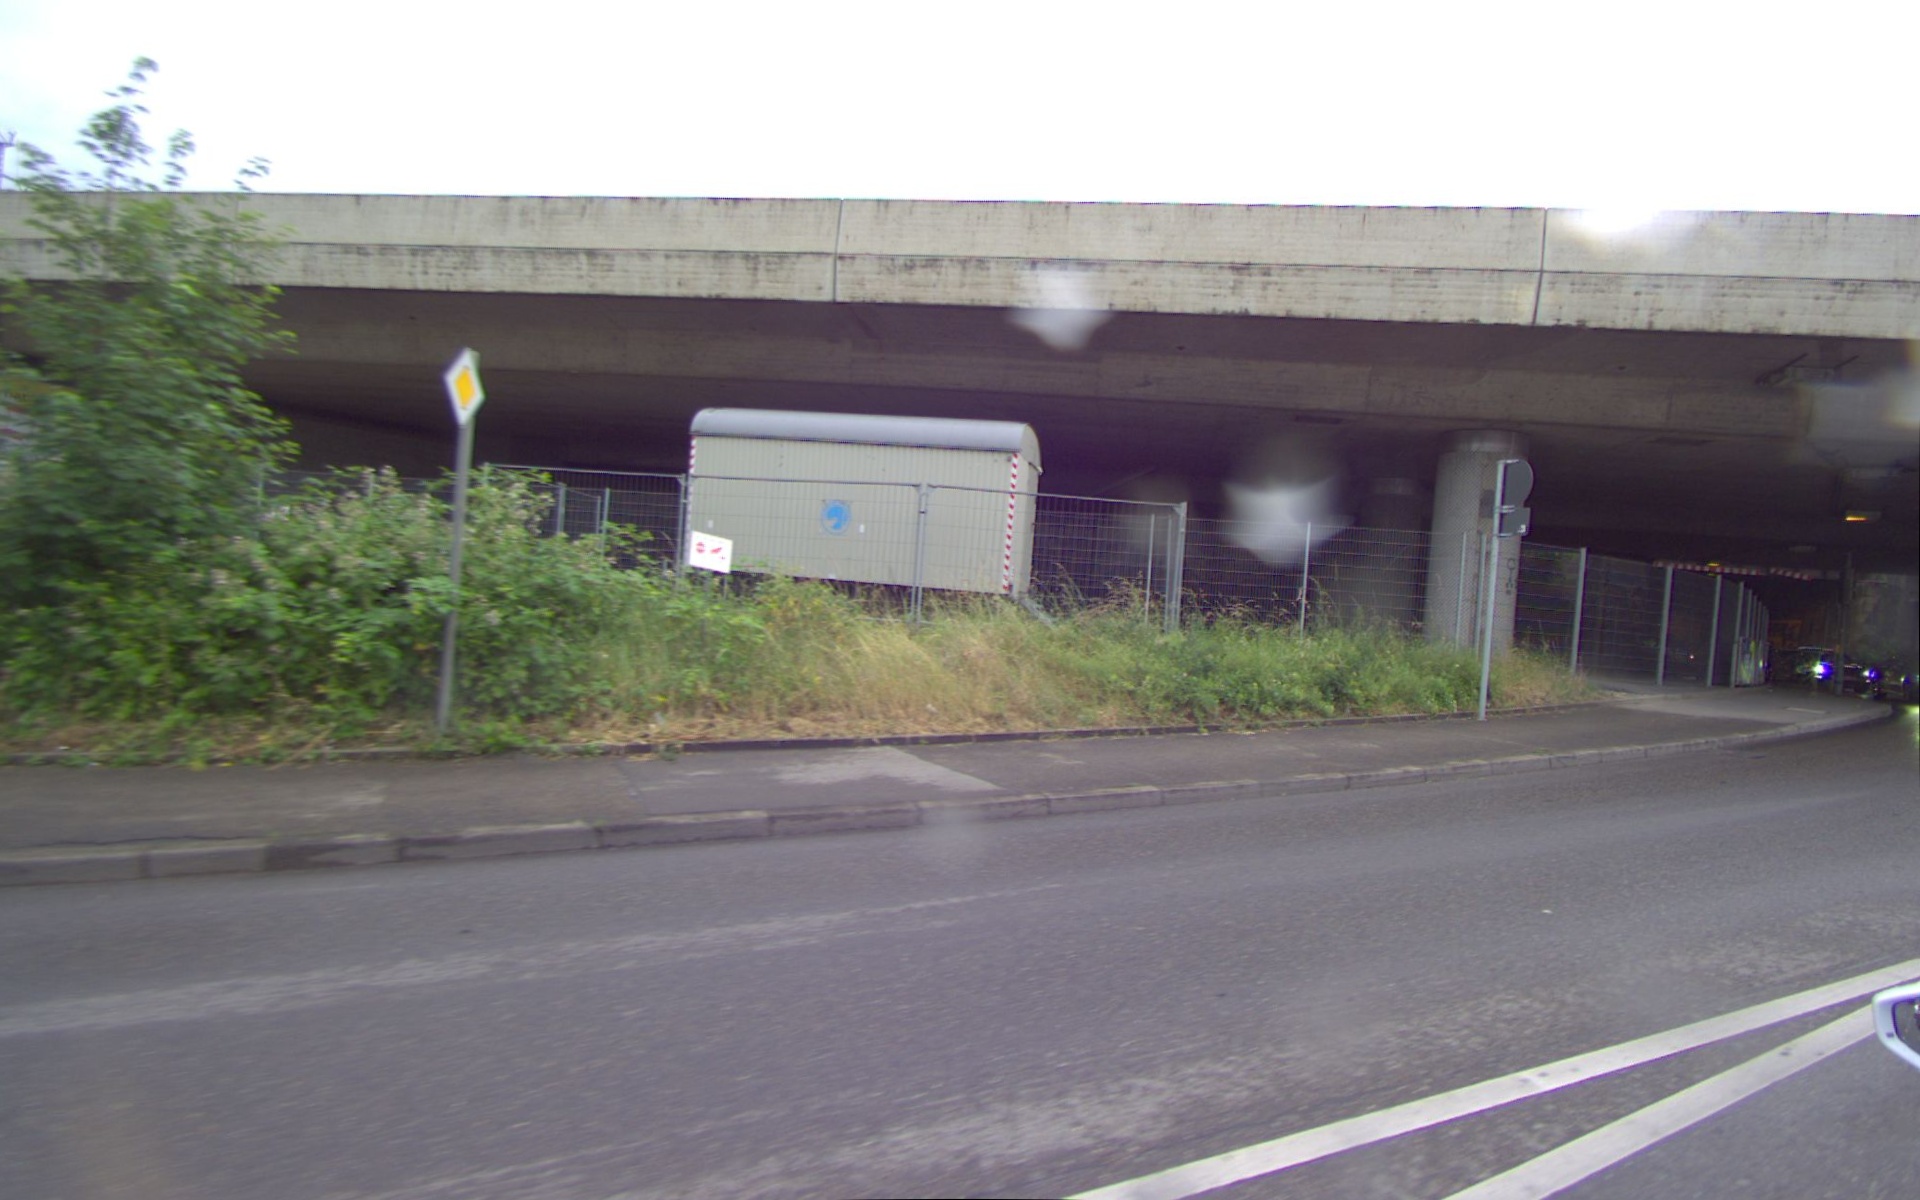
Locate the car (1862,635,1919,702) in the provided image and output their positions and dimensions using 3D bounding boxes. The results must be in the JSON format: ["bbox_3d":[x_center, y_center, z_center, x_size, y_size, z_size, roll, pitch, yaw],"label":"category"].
[{"bbox_3d":[26.222,1.862,27.011,1.964,1.550,4.491,4,2,30],"label":"car"}]

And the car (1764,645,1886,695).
[{"bbox_3d":[29.847,2.366,34.811,1.961,1.484,4.104,3,-1,23],"label":"car"}]
